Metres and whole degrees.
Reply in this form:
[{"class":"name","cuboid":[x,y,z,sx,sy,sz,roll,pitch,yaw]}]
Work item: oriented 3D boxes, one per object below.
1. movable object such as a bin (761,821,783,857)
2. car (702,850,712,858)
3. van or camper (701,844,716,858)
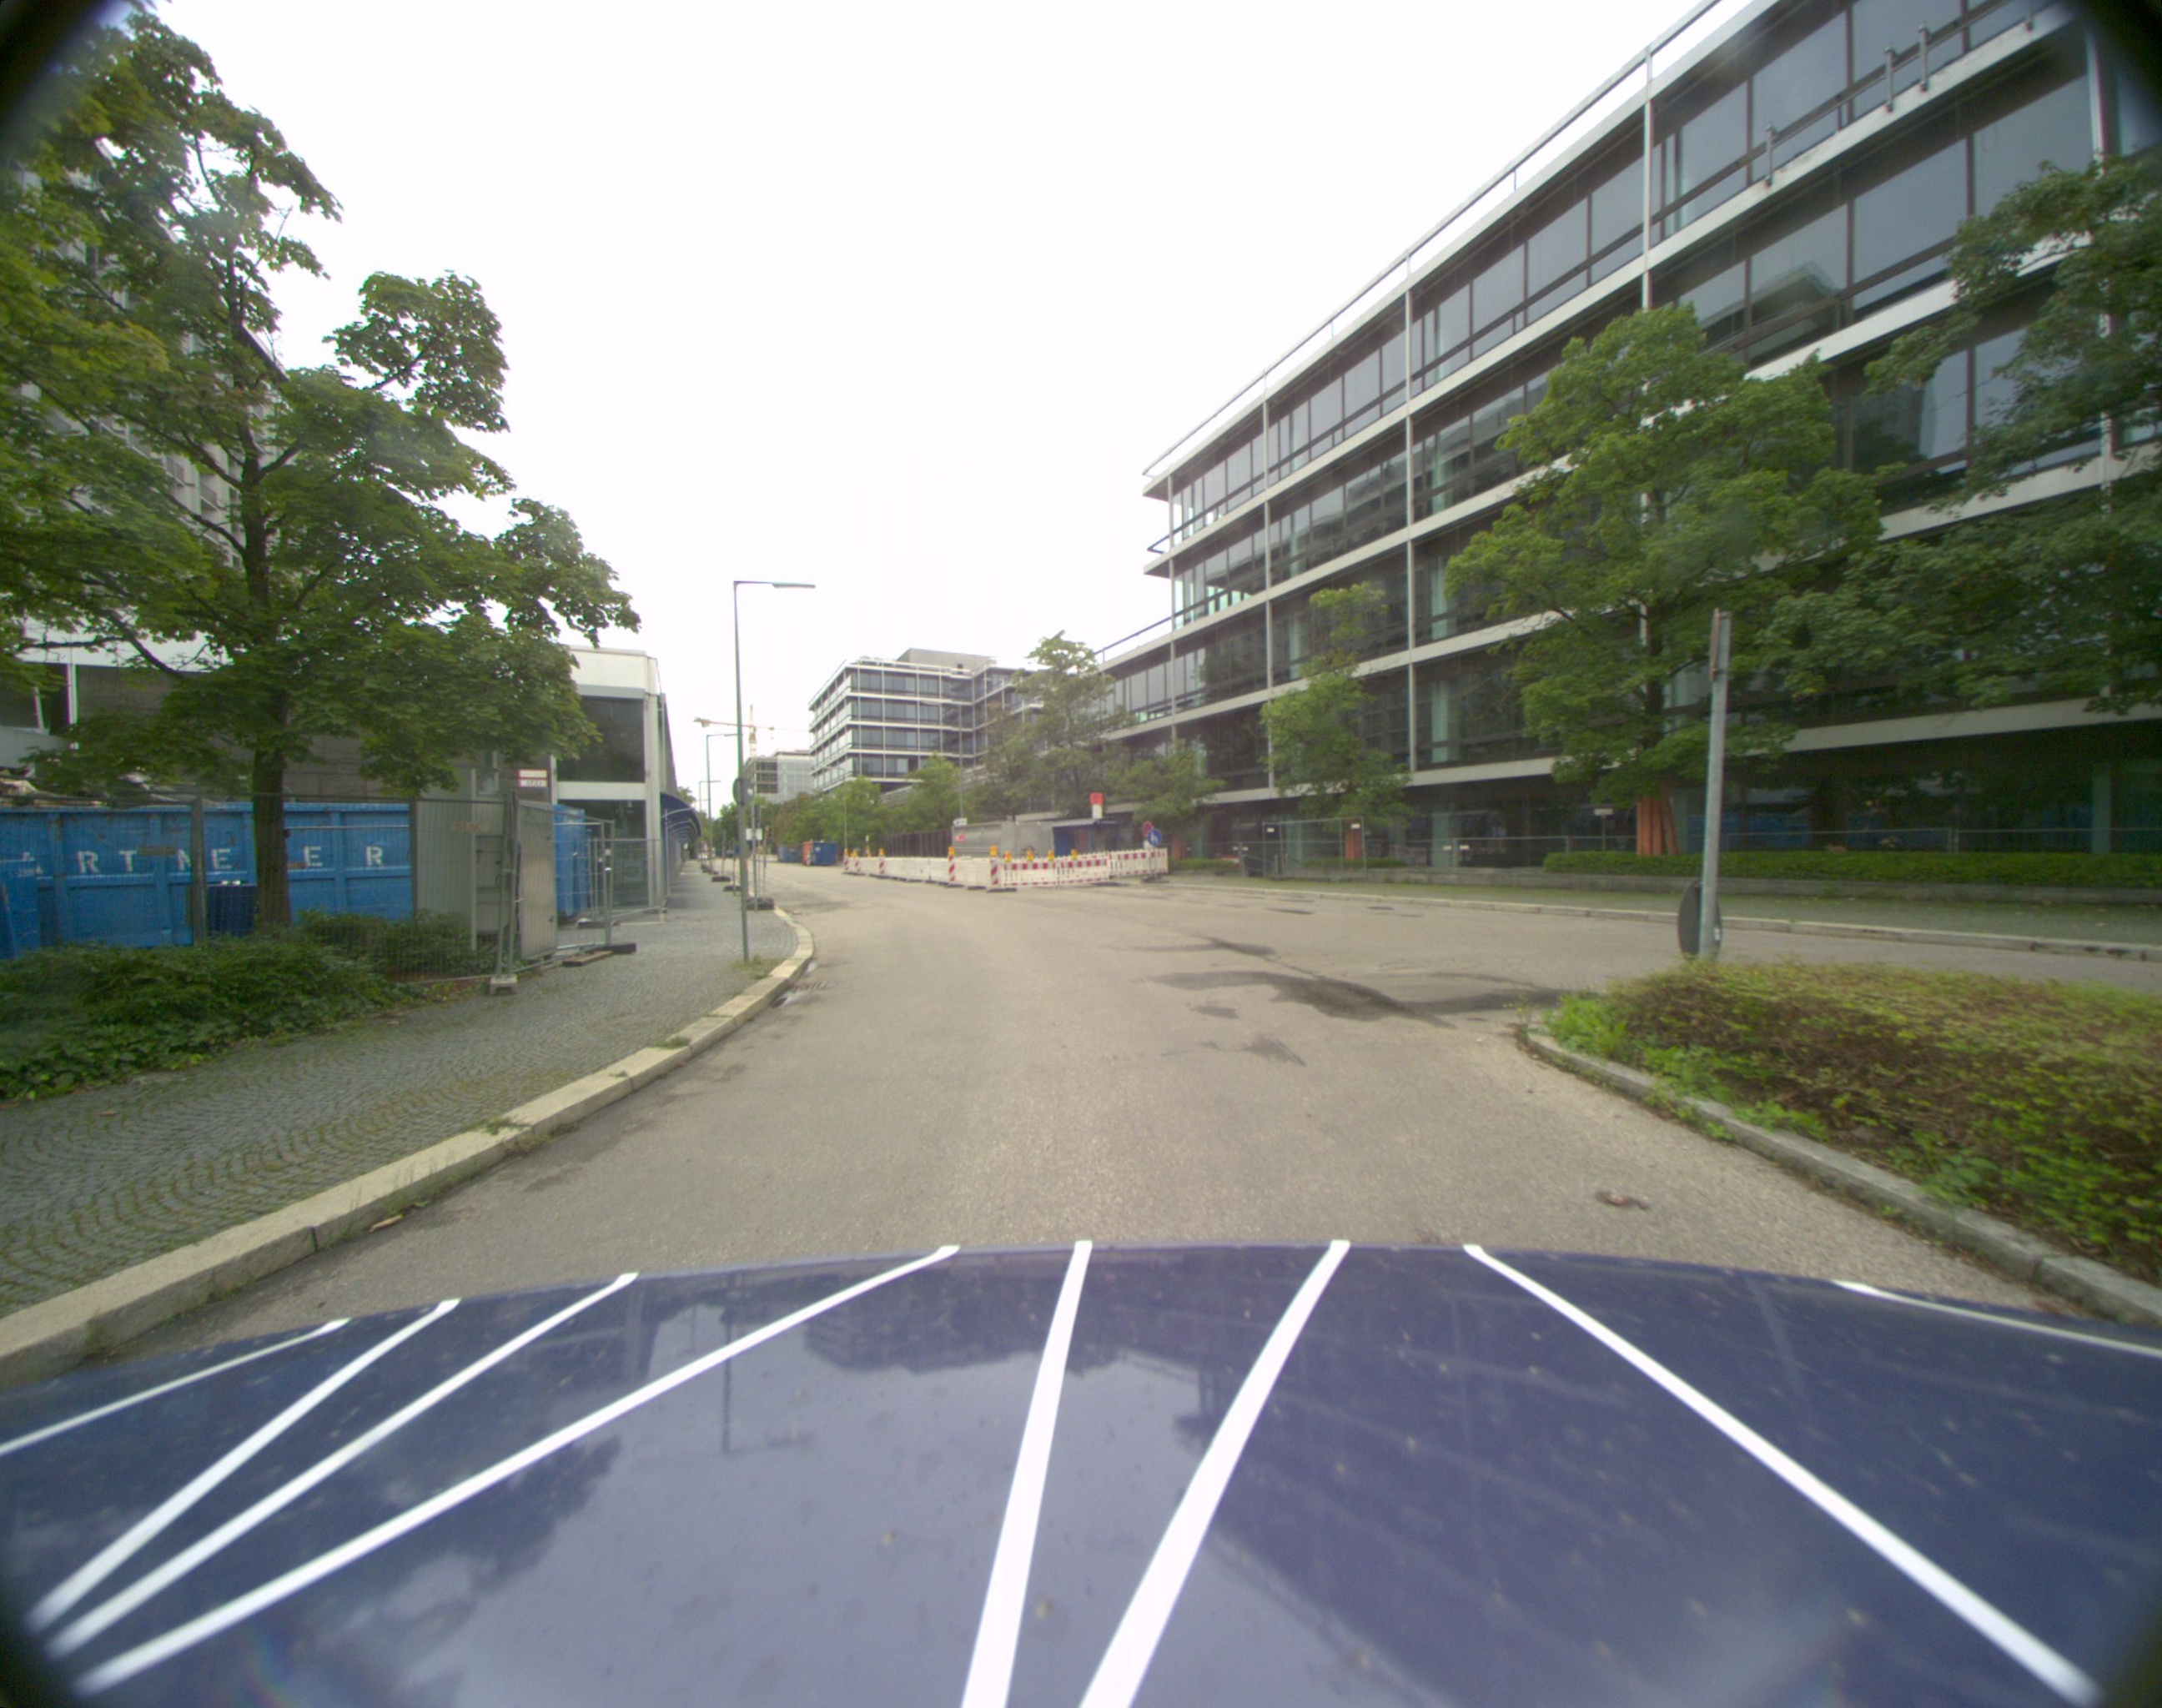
[{"class":"movable object such as a bin","cuboid":[-56.641,-2.676,139.231,3.248,6.286,8.318,-2,1,-25]},{"class":"car","cuboid":[-77.580,-0.066,157.641,1.916,1.627,3.991,-2,1,-26]},{"class":"van or camper","cuboid":[-80.106,-0.685,163.377,2.672,2.751,6.900,-2,1,-24]}]
